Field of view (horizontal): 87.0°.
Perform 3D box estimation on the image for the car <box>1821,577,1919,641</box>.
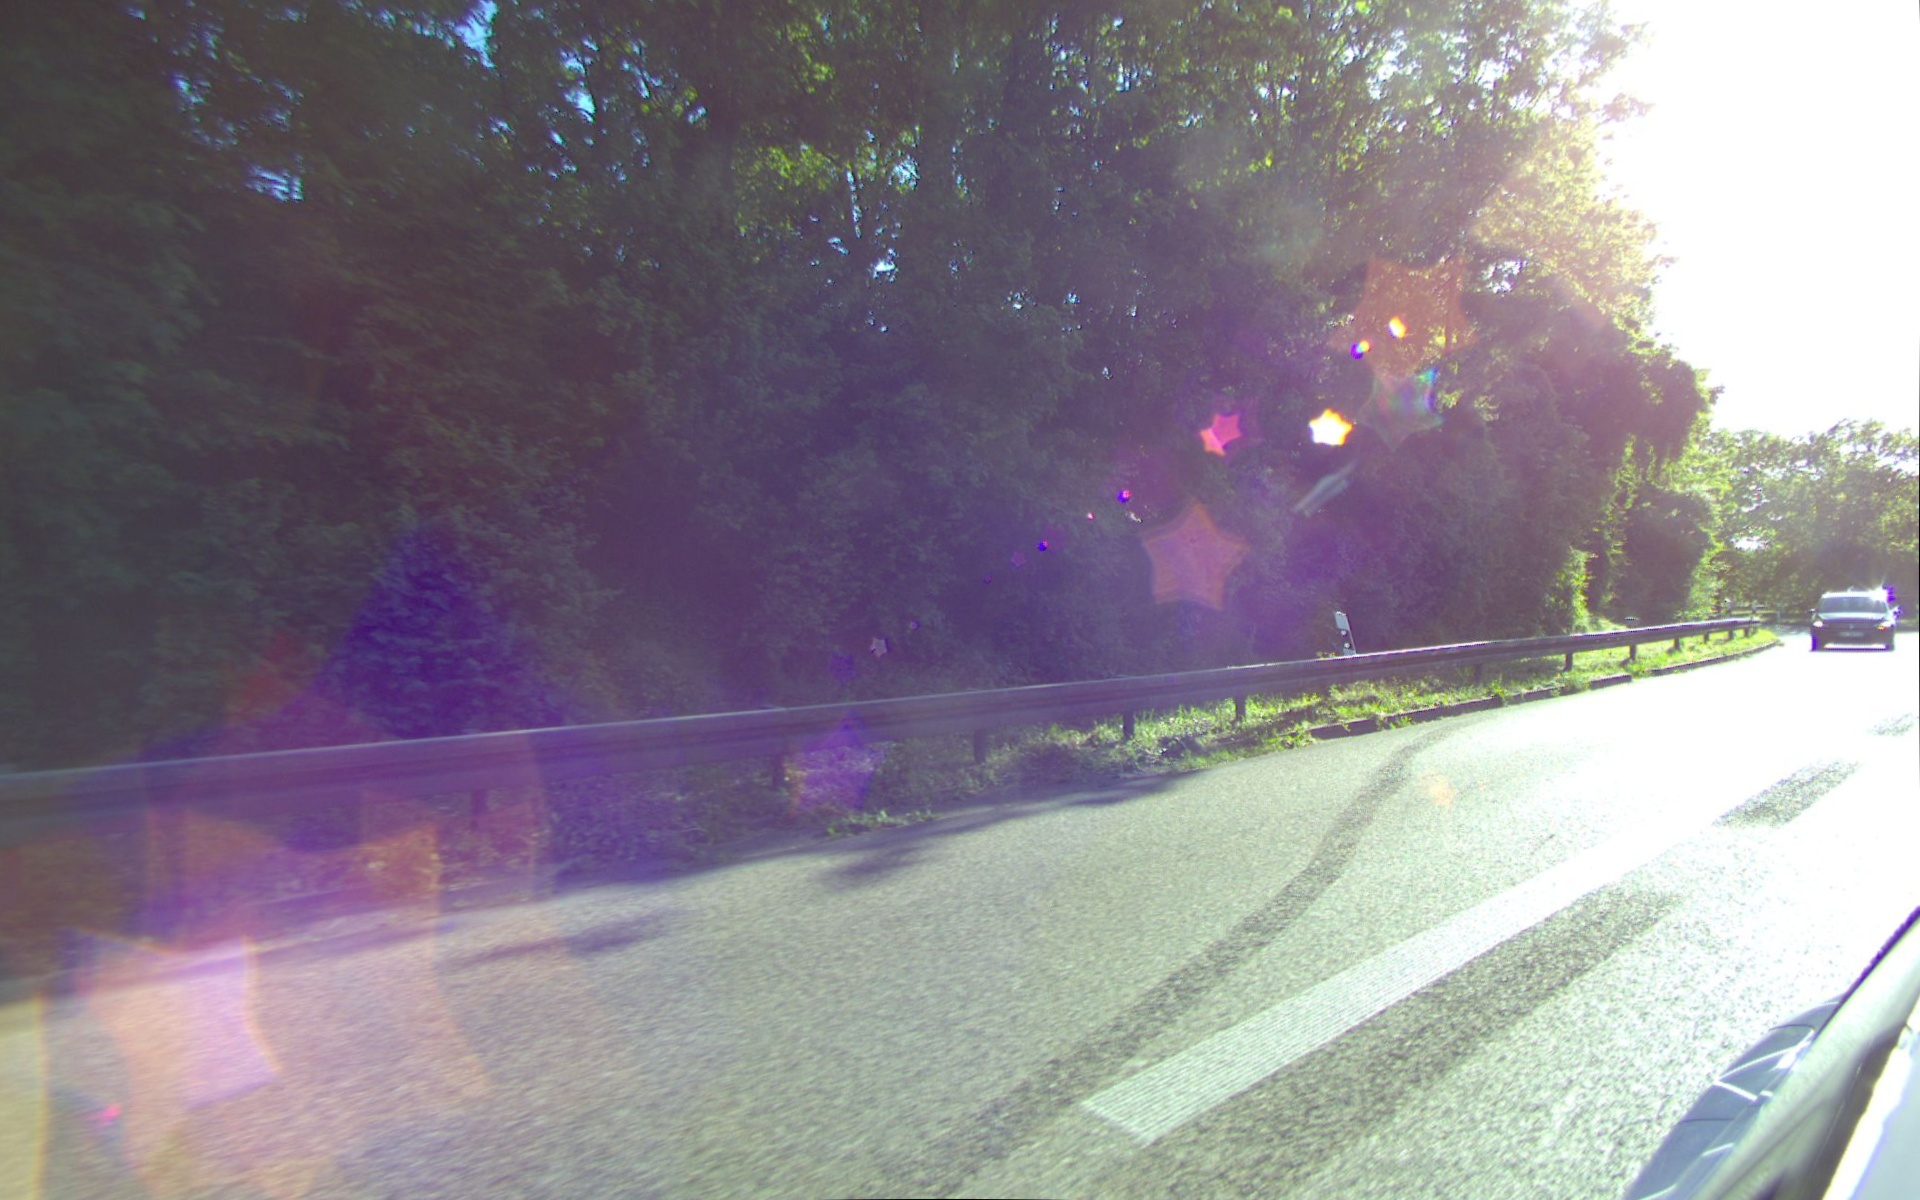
[{"bbox_3d":[25.801,0.265,28.618,3.933,1.684,1.743,0,-2,-43],"label":"car"}]
